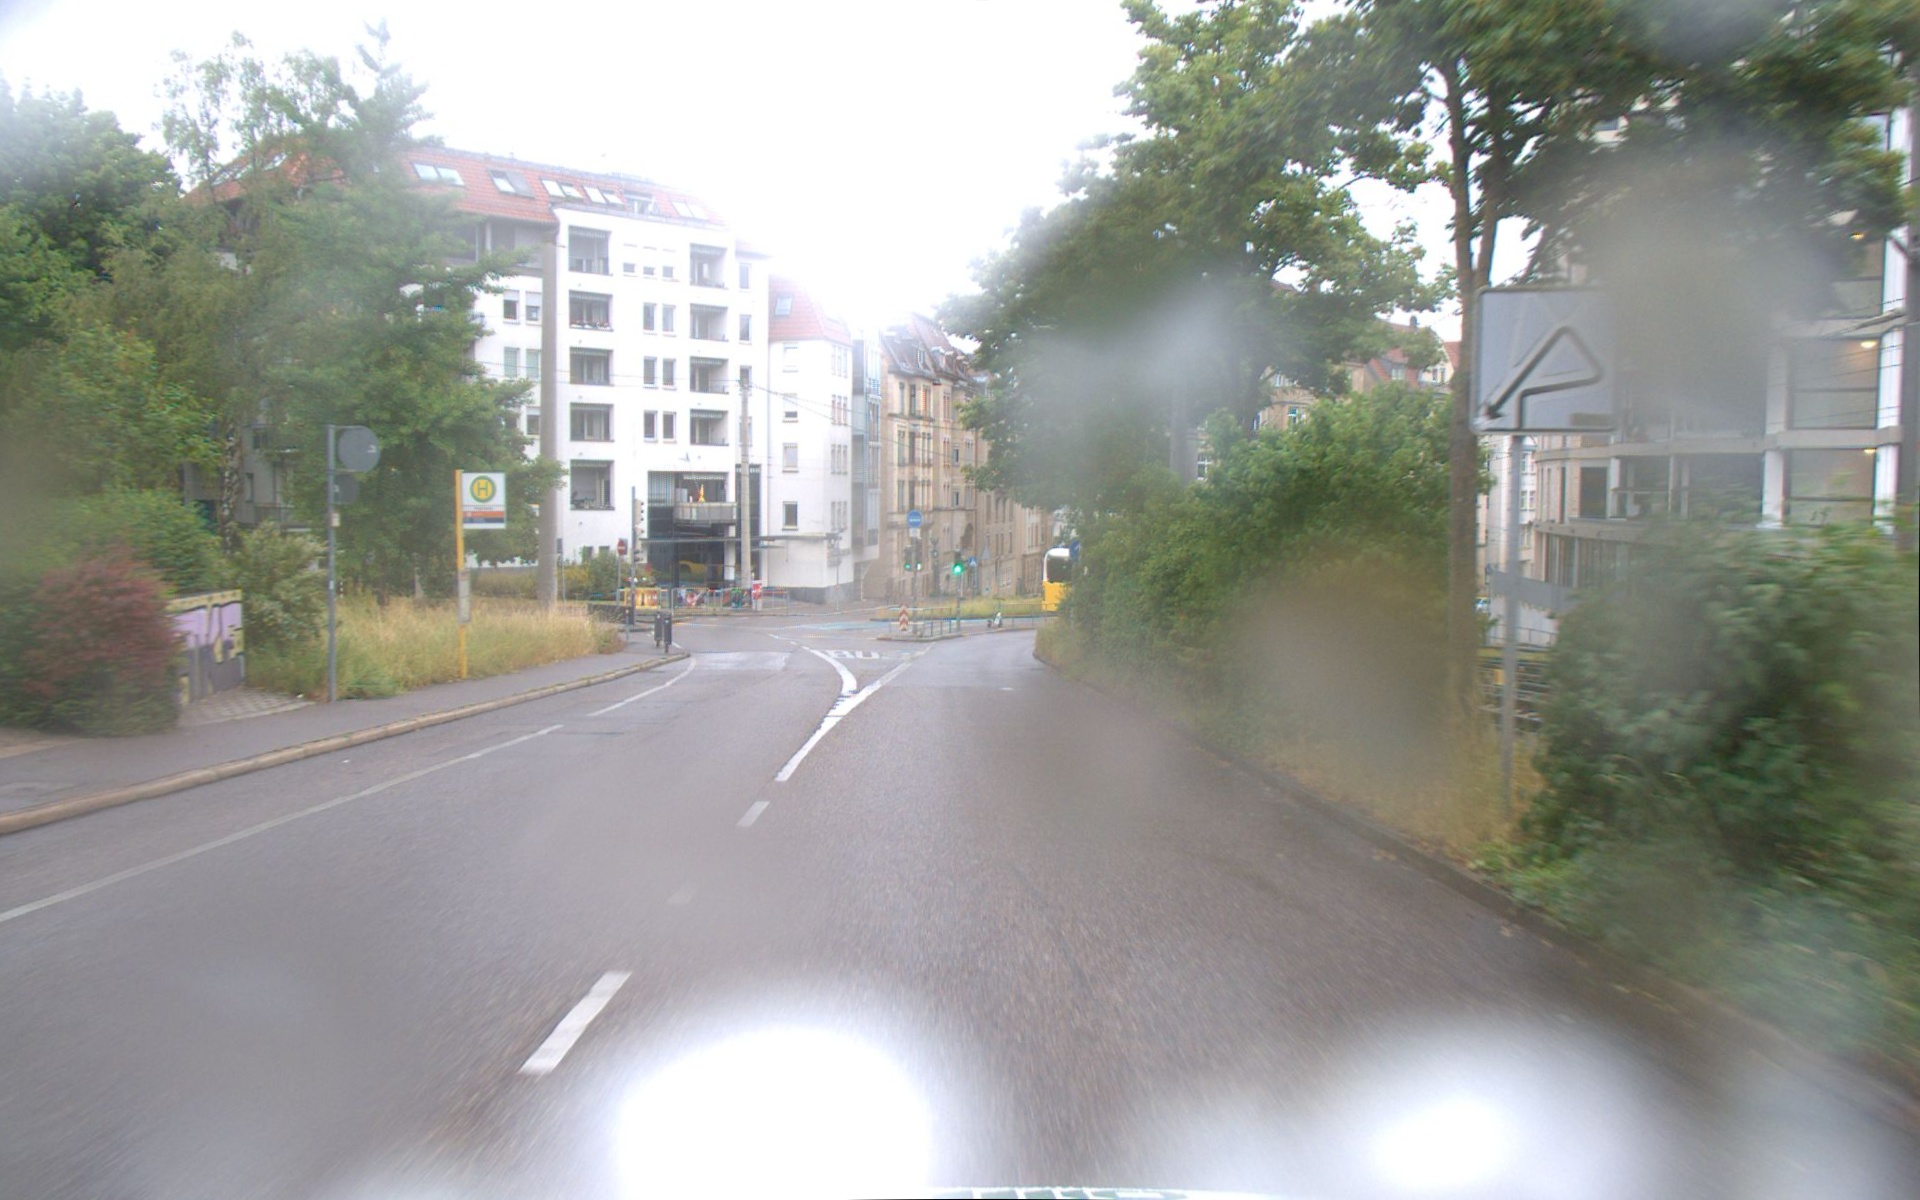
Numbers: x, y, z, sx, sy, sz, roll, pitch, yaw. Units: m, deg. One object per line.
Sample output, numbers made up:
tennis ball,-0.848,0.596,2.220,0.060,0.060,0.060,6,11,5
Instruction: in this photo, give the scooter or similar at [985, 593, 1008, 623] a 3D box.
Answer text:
scooter or similar,1.459,0.321,66.037,0.424,1.133,1.606,3,1,19

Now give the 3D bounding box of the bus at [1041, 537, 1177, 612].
bus,7.552,-1.198,82.323,2.546,3.529,9.077,2,1,34
